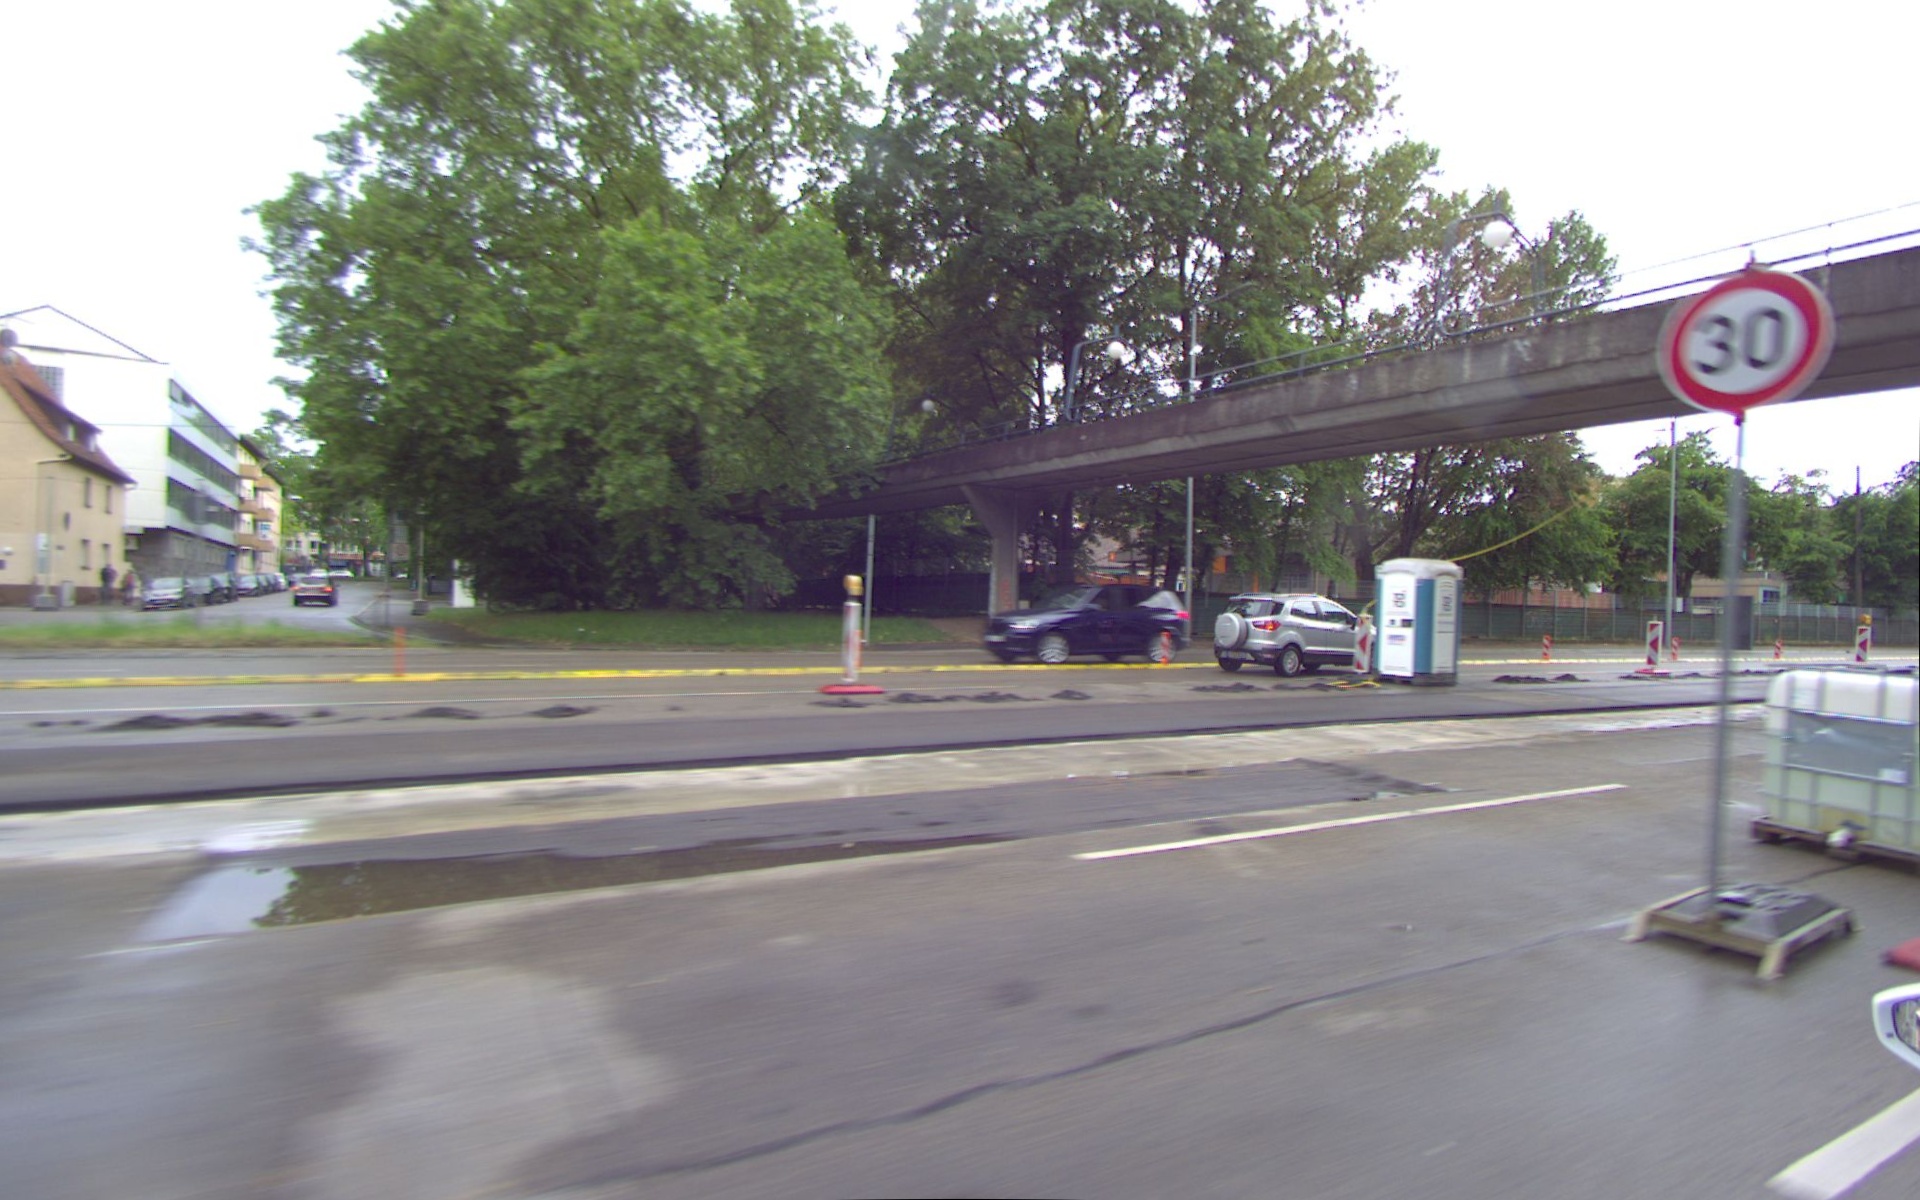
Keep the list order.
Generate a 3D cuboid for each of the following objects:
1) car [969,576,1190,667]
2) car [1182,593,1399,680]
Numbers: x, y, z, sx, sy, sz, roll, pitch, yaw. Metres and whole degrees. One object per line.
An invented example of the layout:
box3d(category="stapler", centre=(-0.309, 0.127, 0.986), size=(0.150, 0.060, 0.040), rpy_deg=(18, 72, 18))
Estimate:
box3d(category="car", centre=(2.671, 0.501, 22.160), size=(4.552, 1.830, 1.962), rpy_deg=(2, -1, -29))
box3d(category="car", centre=(6.873, 0.731, 20.790), size=(4.313, 1.585, 1.879), rpy_deg=(1, 1, -31))
